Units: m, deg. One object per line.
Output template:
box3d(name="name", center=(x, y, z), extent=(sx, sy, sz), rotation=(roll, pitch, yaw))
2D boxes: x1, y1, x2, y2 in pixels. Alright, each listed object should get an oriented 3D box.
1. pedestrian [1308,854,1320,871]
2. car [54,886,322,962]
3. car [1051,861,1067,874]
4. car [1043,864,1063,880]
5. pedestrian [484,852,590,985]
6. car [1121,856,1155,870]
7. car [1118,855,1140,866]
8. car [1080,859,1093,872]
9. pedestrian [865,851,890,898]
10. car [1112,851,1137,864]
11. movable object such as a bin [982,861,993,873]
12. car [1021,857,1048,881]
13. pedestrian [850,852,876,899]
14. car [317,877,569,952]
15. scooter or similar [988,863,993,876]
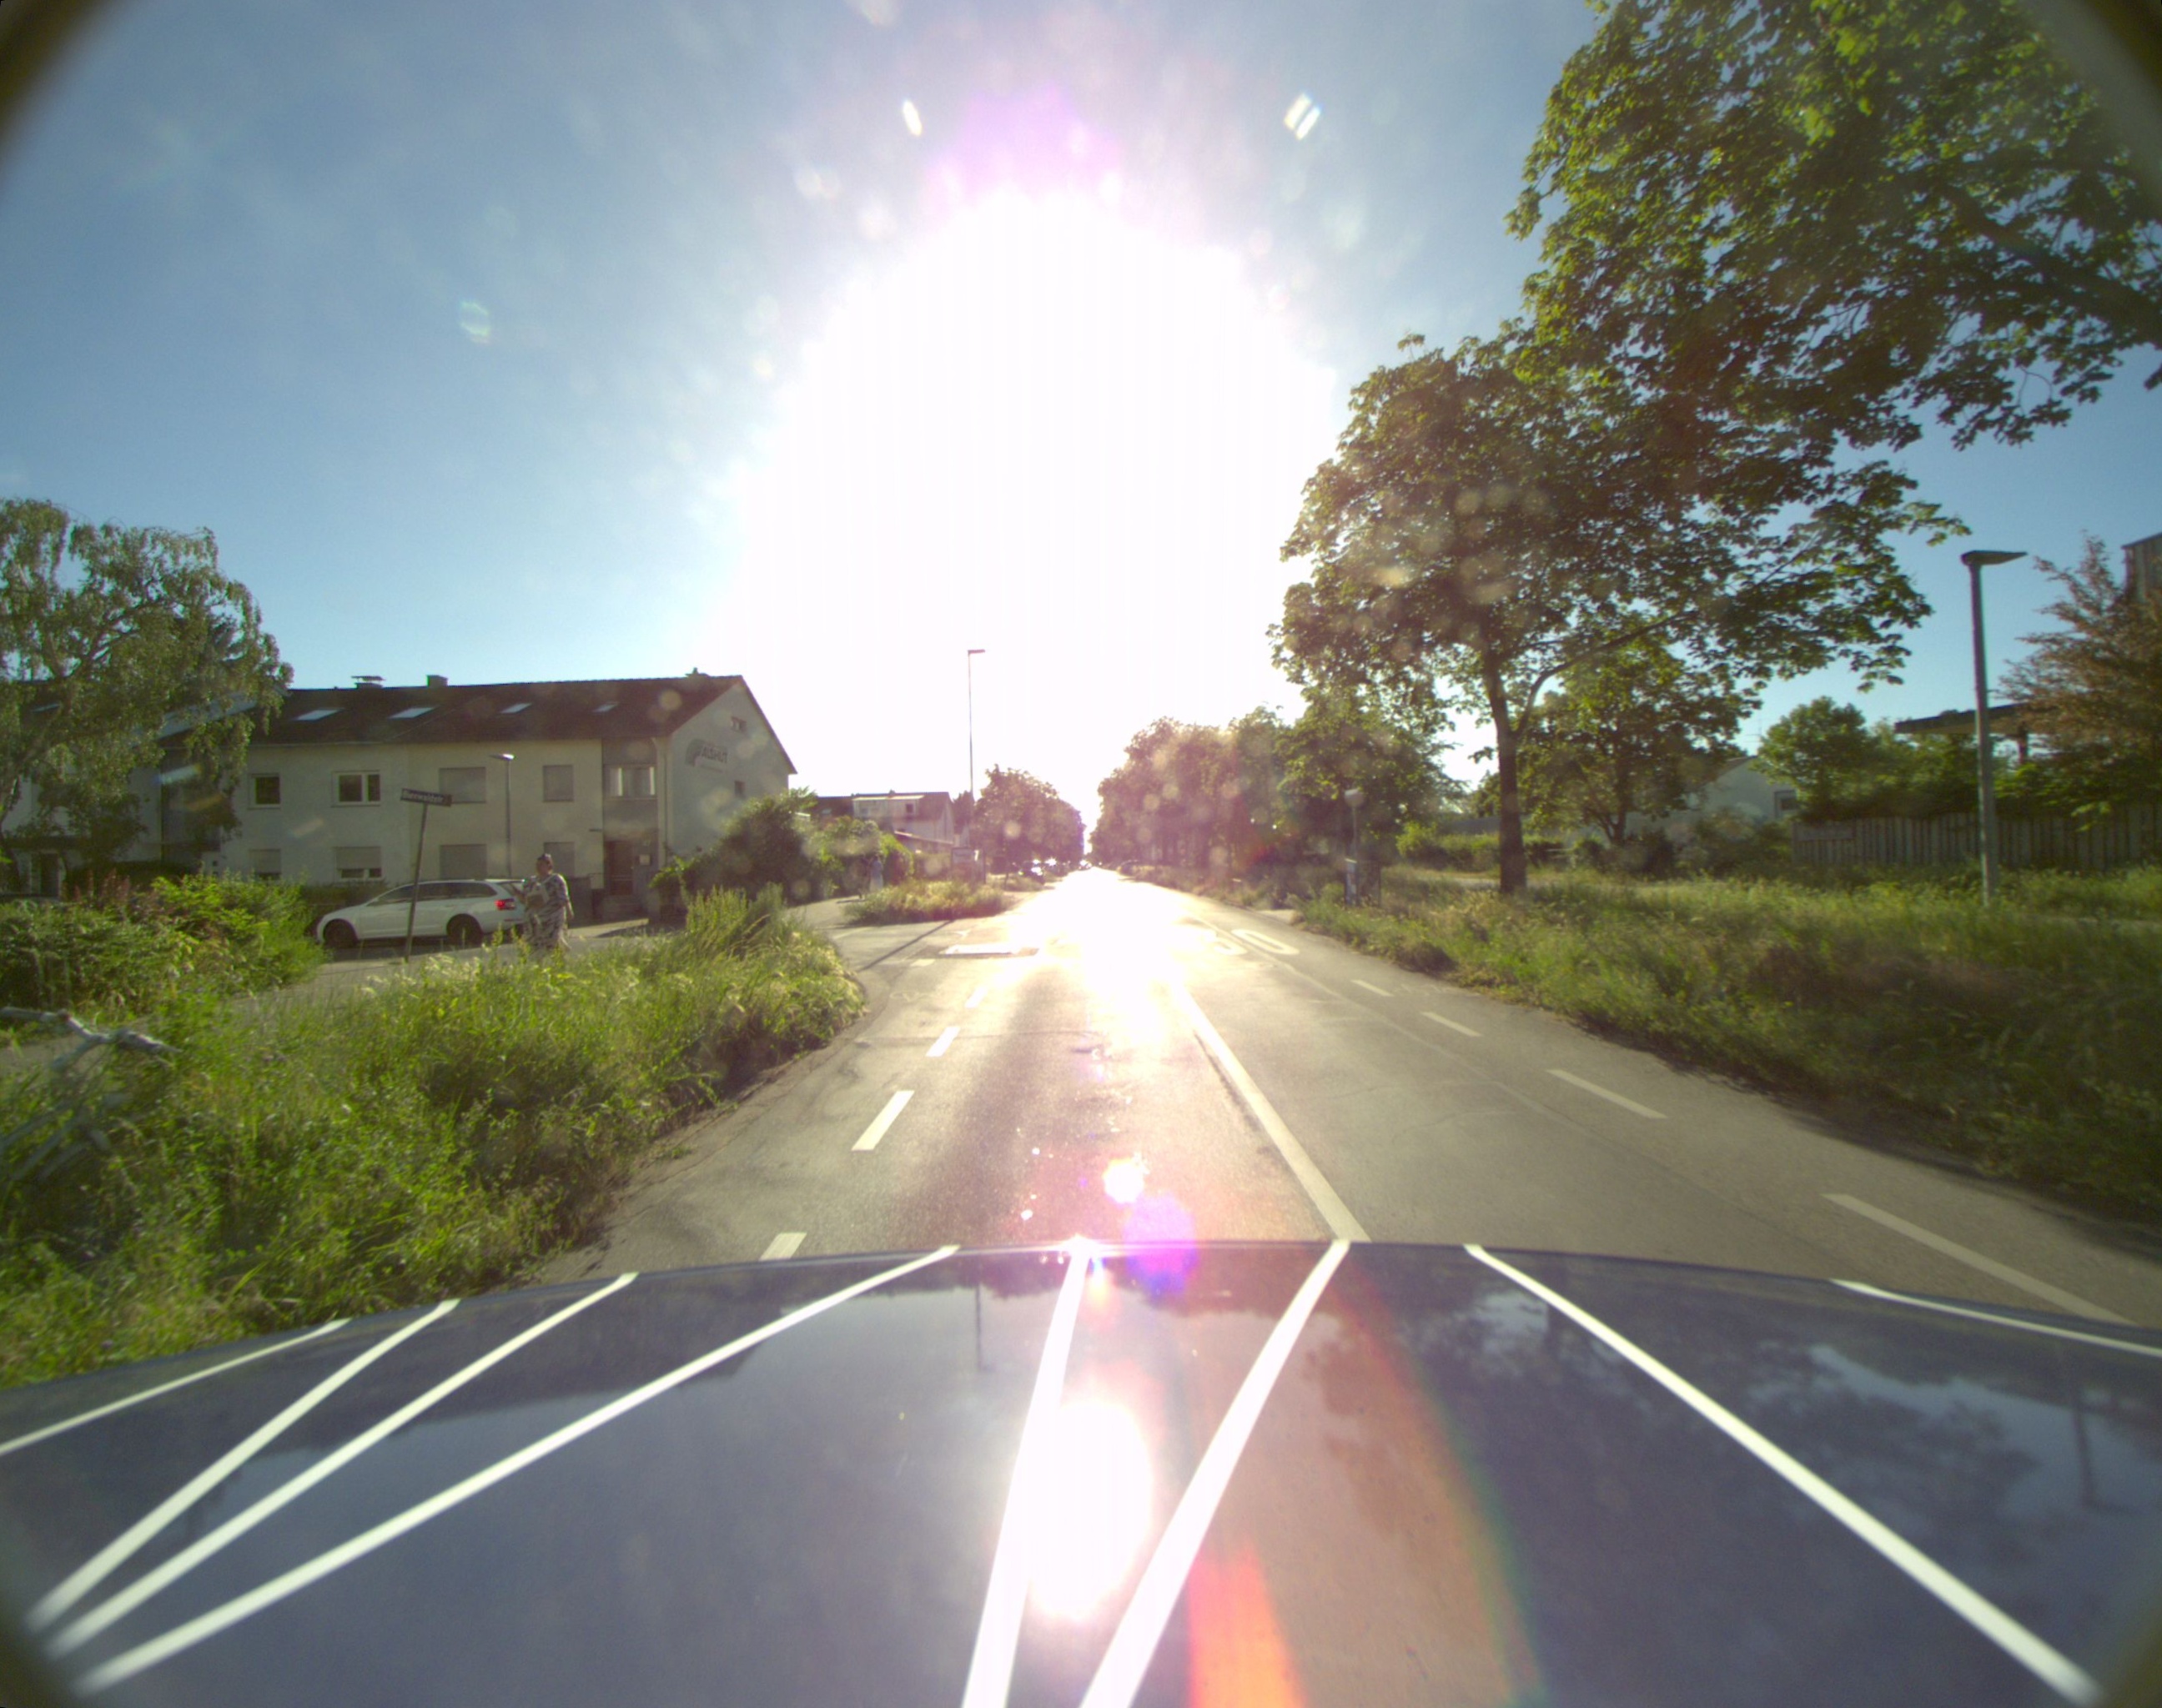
box3d(name="pedestrian", center=(16.187, 0.602, 52.784), extent=(0.639, 1.151, 0.522), rotation=(-5, 1, -1))
box3d(name="car", center=(-20.077, 1.544, 17.208), extent=(3.952, 1.493, 1.807), rotation=(-2, -1, 1))
box3d(name="car", center=(-2.523, 1.558, 88.806), extent=(1.733, 1.473, 3.858), rotation=(-1, -1, 0))
box3d(name="car", center=(-2.873, 1.859, 78.592), extent=(1.732, 1.568, 3.859), rotation=(0, 0, 3))
box3d(name="pedestrian", center=(-7.780, 0.893, 10.903), extent=(0.902, 1.811, 0.736), rotation=(-3, 1, -5))
box3d(name="car", center=(7.153, 1.092, 95.950), extent=(4.204, 1.552, 2.000), rotation=(-3, 0, 1))
box3d(name="car", center=(8.967, 1.192, 142.414), extent=(3.997, 1.739, 1.890), rotation=(-3, 0, 0))
box3d(name="car", center=(0.957, 1.889, 126.845), extent=(1.998, 2.002, 4.000), rotation=(-3, 0, 1))
box3d(name="pedestrian", center=(-7.624, 0.771, 28.457), extent=(0.555, 1.722, 0.662), rotation=(-3, 1, 17))
box3d(name="car", center=(9.110, 0.750, 159.022), extent=(5.121, 2.596, 2.125), rotation=(-3, 0, 3))
box3d(name="movable object such as a bin", center=(-10.846, 1.508, 88.566), extent=(1.172, 1.286, 0.928), rotation=(0, 1, 0))
box3d(name="car", center=(-3.102, 0.990, 51.104), extent=(1.497, 1.564, 3.601), rotation=(-1, 0, 0))
box3d(name="pedestrian", center=(-8.197, 0.797, 28.628), extent=(0.606, 1.722, 0.640), rotation=(-2, 1, 17))
box3d(name="car", center=(-14.385, 1.326, 17.294), extent=(4.204, 1.493, 1.807), rotation=(-2, -1, 1))
box3d(name="scooter or similar", center=(-8.970, 1.510, 75.471), extent=(0.503, 1.288, 0.461), rotation=(0, 1, -3))
